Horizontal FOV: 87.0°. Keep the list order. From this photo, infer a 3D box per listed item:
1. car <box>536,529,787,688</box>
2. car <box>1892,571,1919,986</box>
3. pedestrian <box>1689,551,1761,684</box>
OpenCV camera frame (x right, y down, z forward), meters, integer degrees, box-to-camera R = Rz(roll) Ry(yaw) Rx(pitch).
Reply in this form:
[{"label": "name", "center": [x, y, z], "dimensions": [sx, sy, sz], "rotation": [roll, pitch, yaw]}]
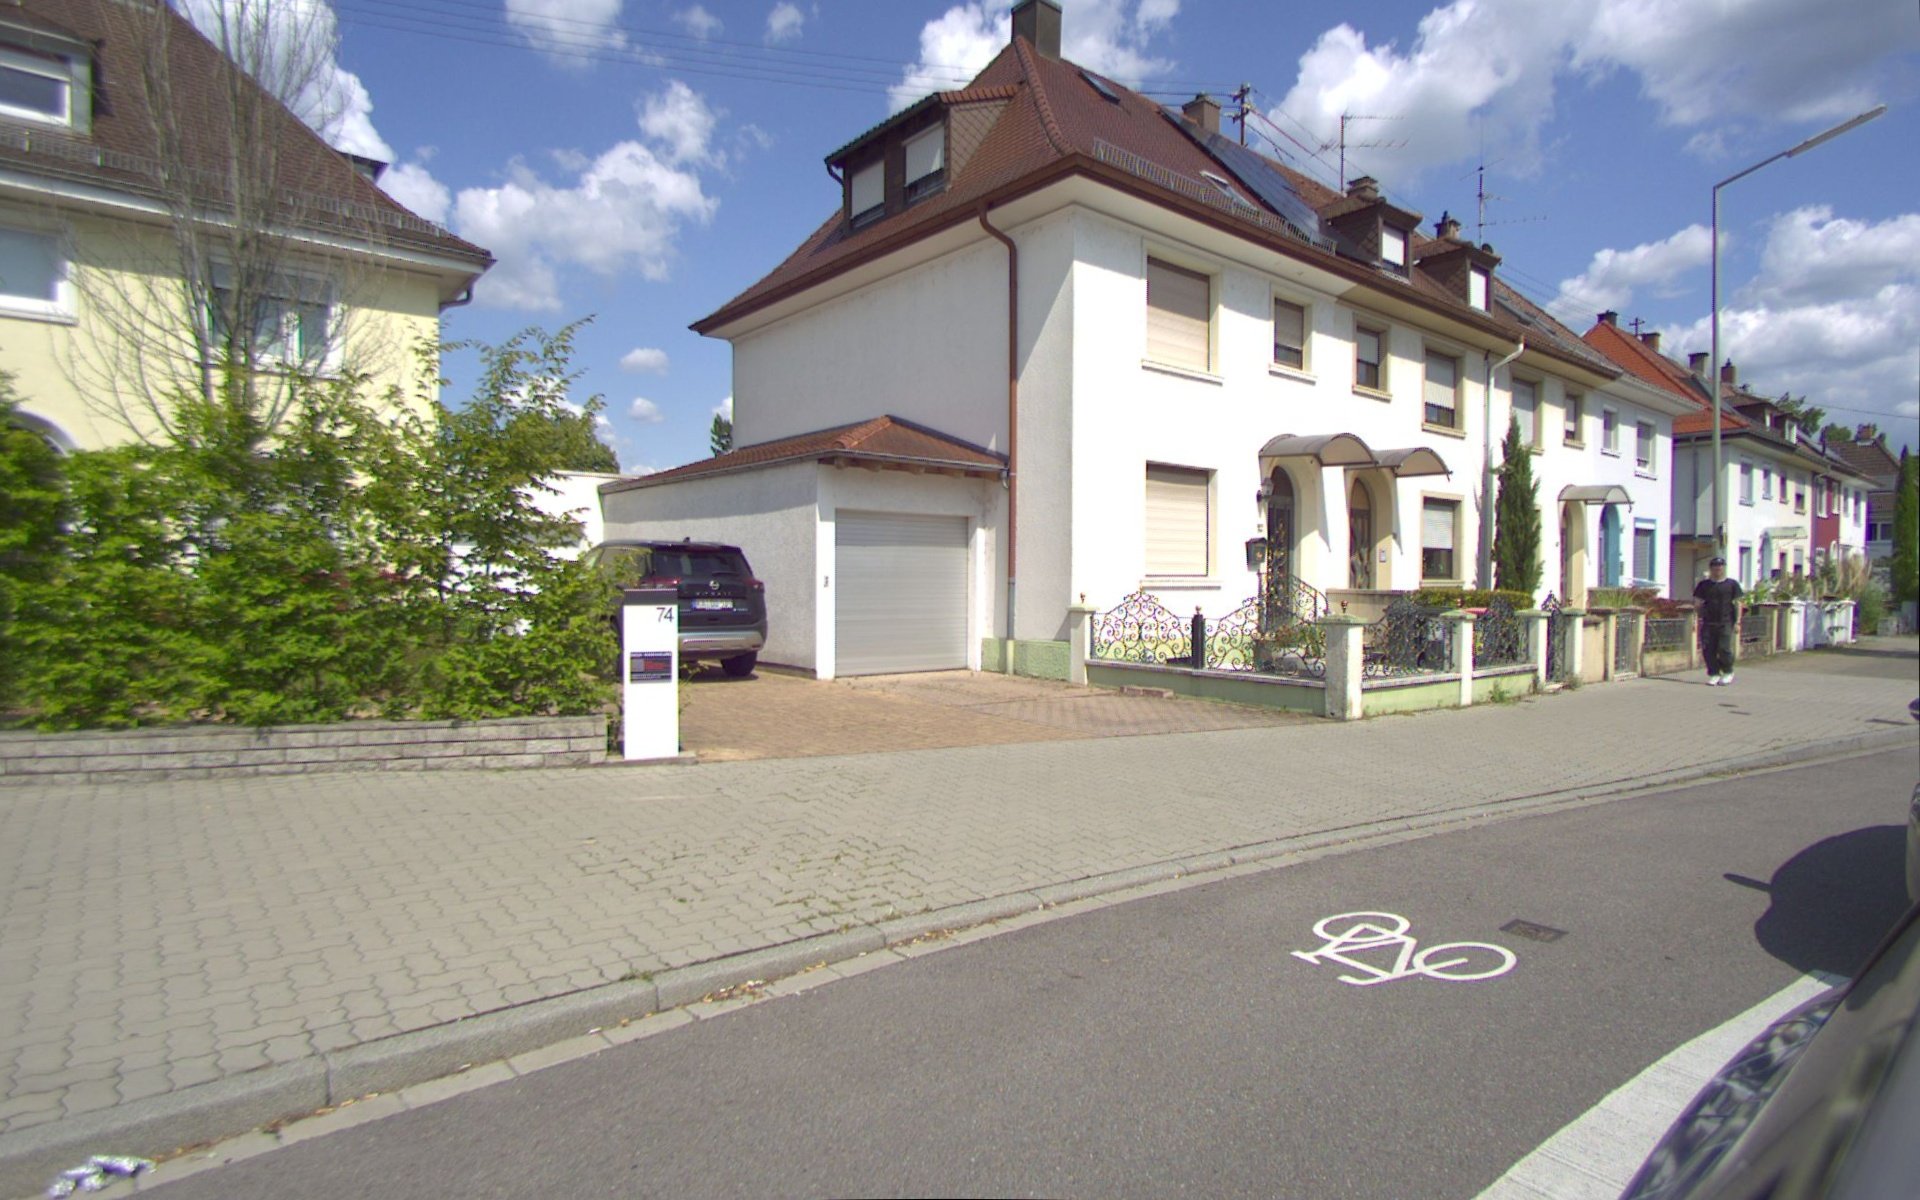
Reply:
[{"label": "car", "center": [-4.019, 0.045, 13.181], "dimensions": [1.833, 1.729, 3.998], "rotation": [0, 1, -37]}, {"label": "car", "center": [5.698, 0.650, 4.603], "dimensions": [4.607, 1.492, 1.764], "rotation": [0, 1, -43]}, {"label": "pedestrian", "center": [10.732, 0.226, 14.196], "dimensions": [0.921, 1.790, 0.592], "rotation": [0, 1, -41]}]
